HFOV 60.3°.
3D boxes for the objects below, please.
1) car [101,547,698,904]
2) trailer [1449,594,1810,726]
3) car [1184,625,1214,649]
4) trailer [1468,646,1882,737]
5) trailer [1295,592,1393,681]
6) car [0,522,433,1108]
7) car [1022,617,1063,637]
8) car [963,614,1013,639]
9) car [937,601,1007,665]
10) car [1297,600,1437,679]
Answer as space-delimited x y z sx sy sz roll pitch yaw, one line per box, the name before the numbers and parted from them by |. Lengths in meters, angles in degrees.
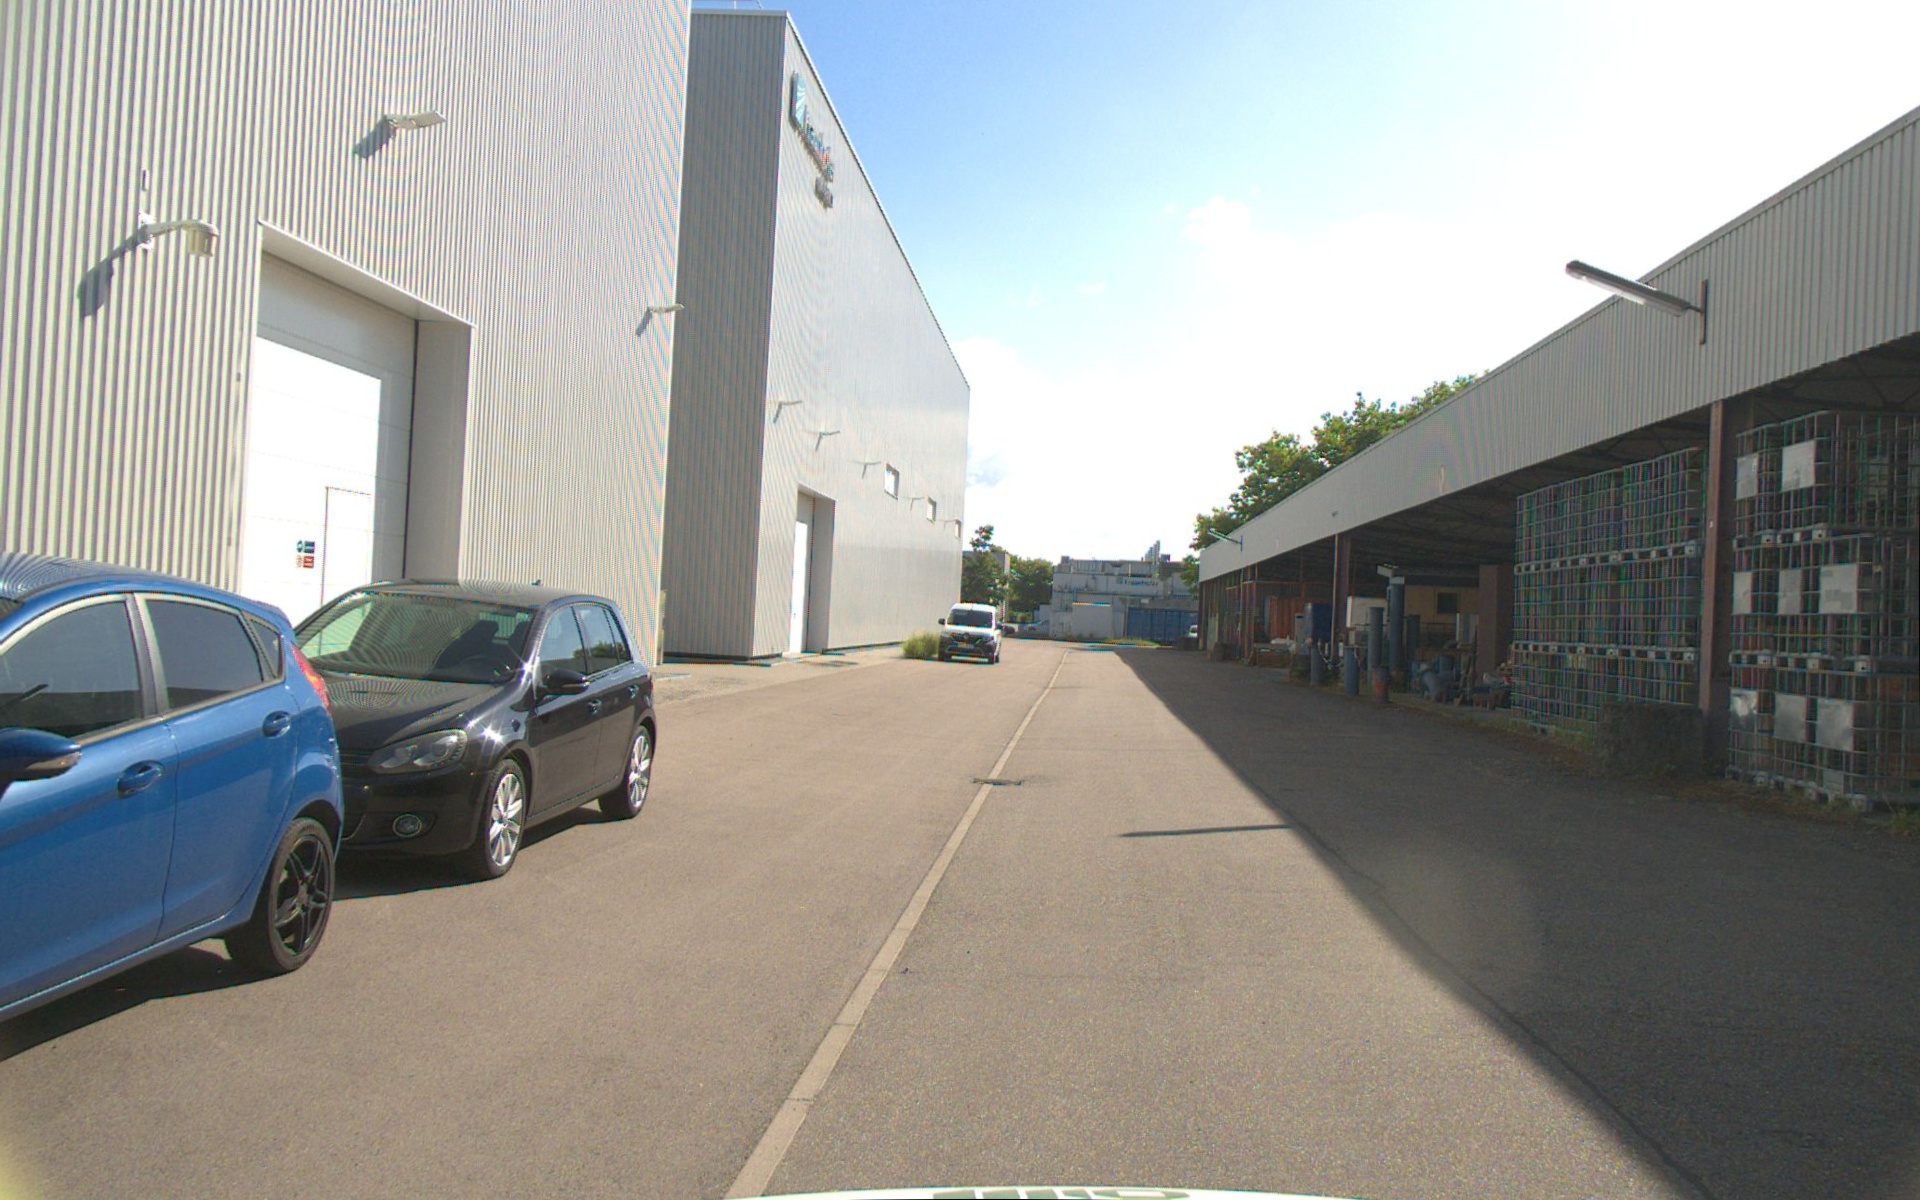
car | -2.973 0.609 9.893 1.718 1.526 4.296 5 0 4
trailer | 11.954 1.045 29.889 5.644 2.068 2.079 2 -1 5
car | 17.499 2.691 121.278 1.921 1.592 4.061 4 0 6
trailer | 11.400 1.442 26.704 5.726 1.153 2.142 2 0 2
trailer | 11.178 1.060 48.269 2.470 2.441 1.727 3 -2 5
car | -3.208 0.502 5.001 1.597 1.526 4.096 5 0 3
car | 8.139 2.652 162.422 3.904 1.626 1.848 4 -3 3
car | 2.328 2.161 134.891 3.904 1.626 1.742 4 -3 3
car | 0.416 1.022 52.553 1.781 1.818 4.407 4 0 5
car | 13.950 1.387 56.871 4.340 2.350 1.916 4 -3 5
